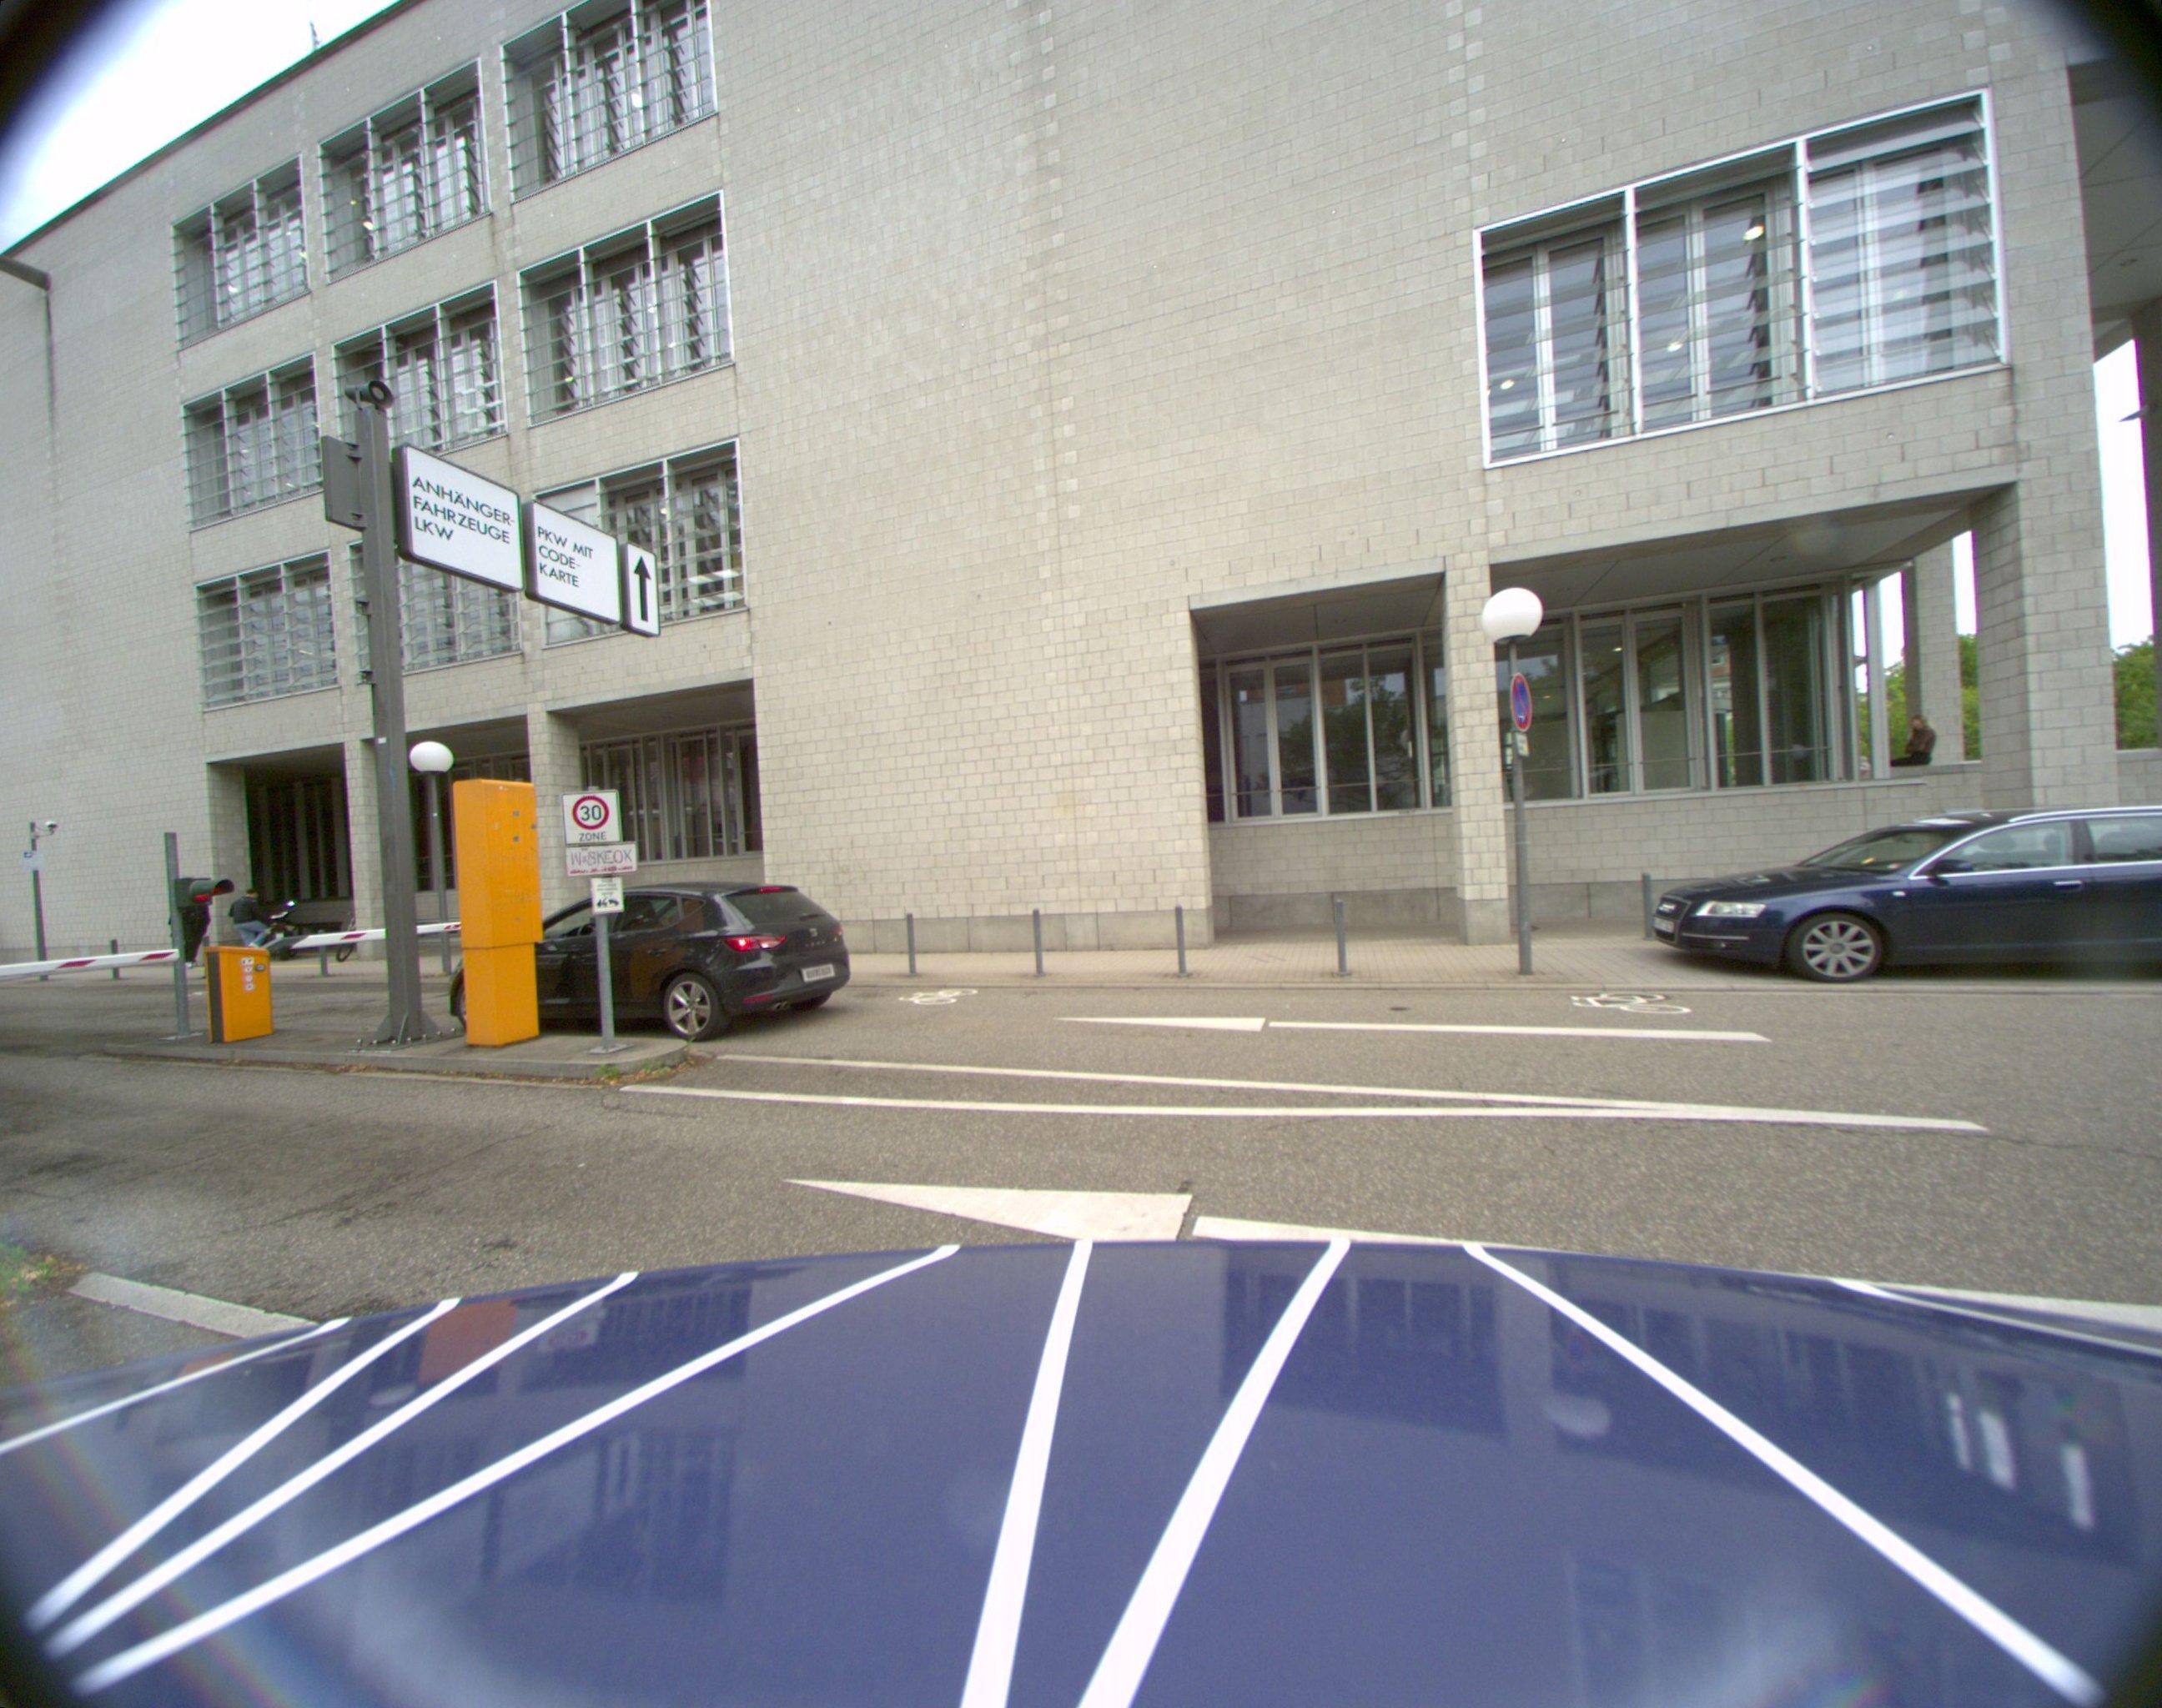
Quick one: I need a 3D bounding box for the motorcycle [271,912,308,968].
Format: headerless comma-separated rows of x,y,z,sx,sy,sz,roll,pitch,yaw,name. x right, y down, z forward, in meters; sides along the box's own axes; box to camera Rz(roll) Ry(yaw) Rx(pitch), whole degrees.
-18.828,2.014,18.066,2.210,1.141,0.569,0,0,43,motorcycle

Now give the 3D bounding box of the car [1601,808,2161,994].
8.119,0.399,7.154,4.912,1.443,2.002,-3,0,19,car

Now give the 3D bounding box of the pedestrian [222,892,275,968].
-19.054,1.720,17.399,0.690,1.689,0.589,0,0,20,pedestrian

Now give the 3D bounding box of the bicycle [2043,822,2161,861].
32.550,-0.379,23.808,3.101,1.163,0.623,0,0,20,bicycle

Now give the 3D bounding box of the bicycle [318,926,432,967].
-15.785,2.056,17.057,0.492,0.694,1.905,0,0,15,bicycle

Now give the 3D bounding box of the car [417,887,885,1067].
-4.327,1.145,7.762,4.121,1.410,1.790,-3,0,18,car

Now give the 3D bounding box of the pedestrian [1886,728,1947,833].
13.943,-1.196,12.702,0.629,1.649,0.809,0,0,44,pedestrian

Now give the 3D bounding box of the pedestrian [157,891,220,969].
-20.227,1.703,17.237,0.587,1.689,0.731,0,0,13,pedestrian

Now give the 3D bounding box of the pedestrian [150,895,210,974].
-20.359,1.814,17.184,0.573,1.705,0.614,-3,1,17,pedestrian
